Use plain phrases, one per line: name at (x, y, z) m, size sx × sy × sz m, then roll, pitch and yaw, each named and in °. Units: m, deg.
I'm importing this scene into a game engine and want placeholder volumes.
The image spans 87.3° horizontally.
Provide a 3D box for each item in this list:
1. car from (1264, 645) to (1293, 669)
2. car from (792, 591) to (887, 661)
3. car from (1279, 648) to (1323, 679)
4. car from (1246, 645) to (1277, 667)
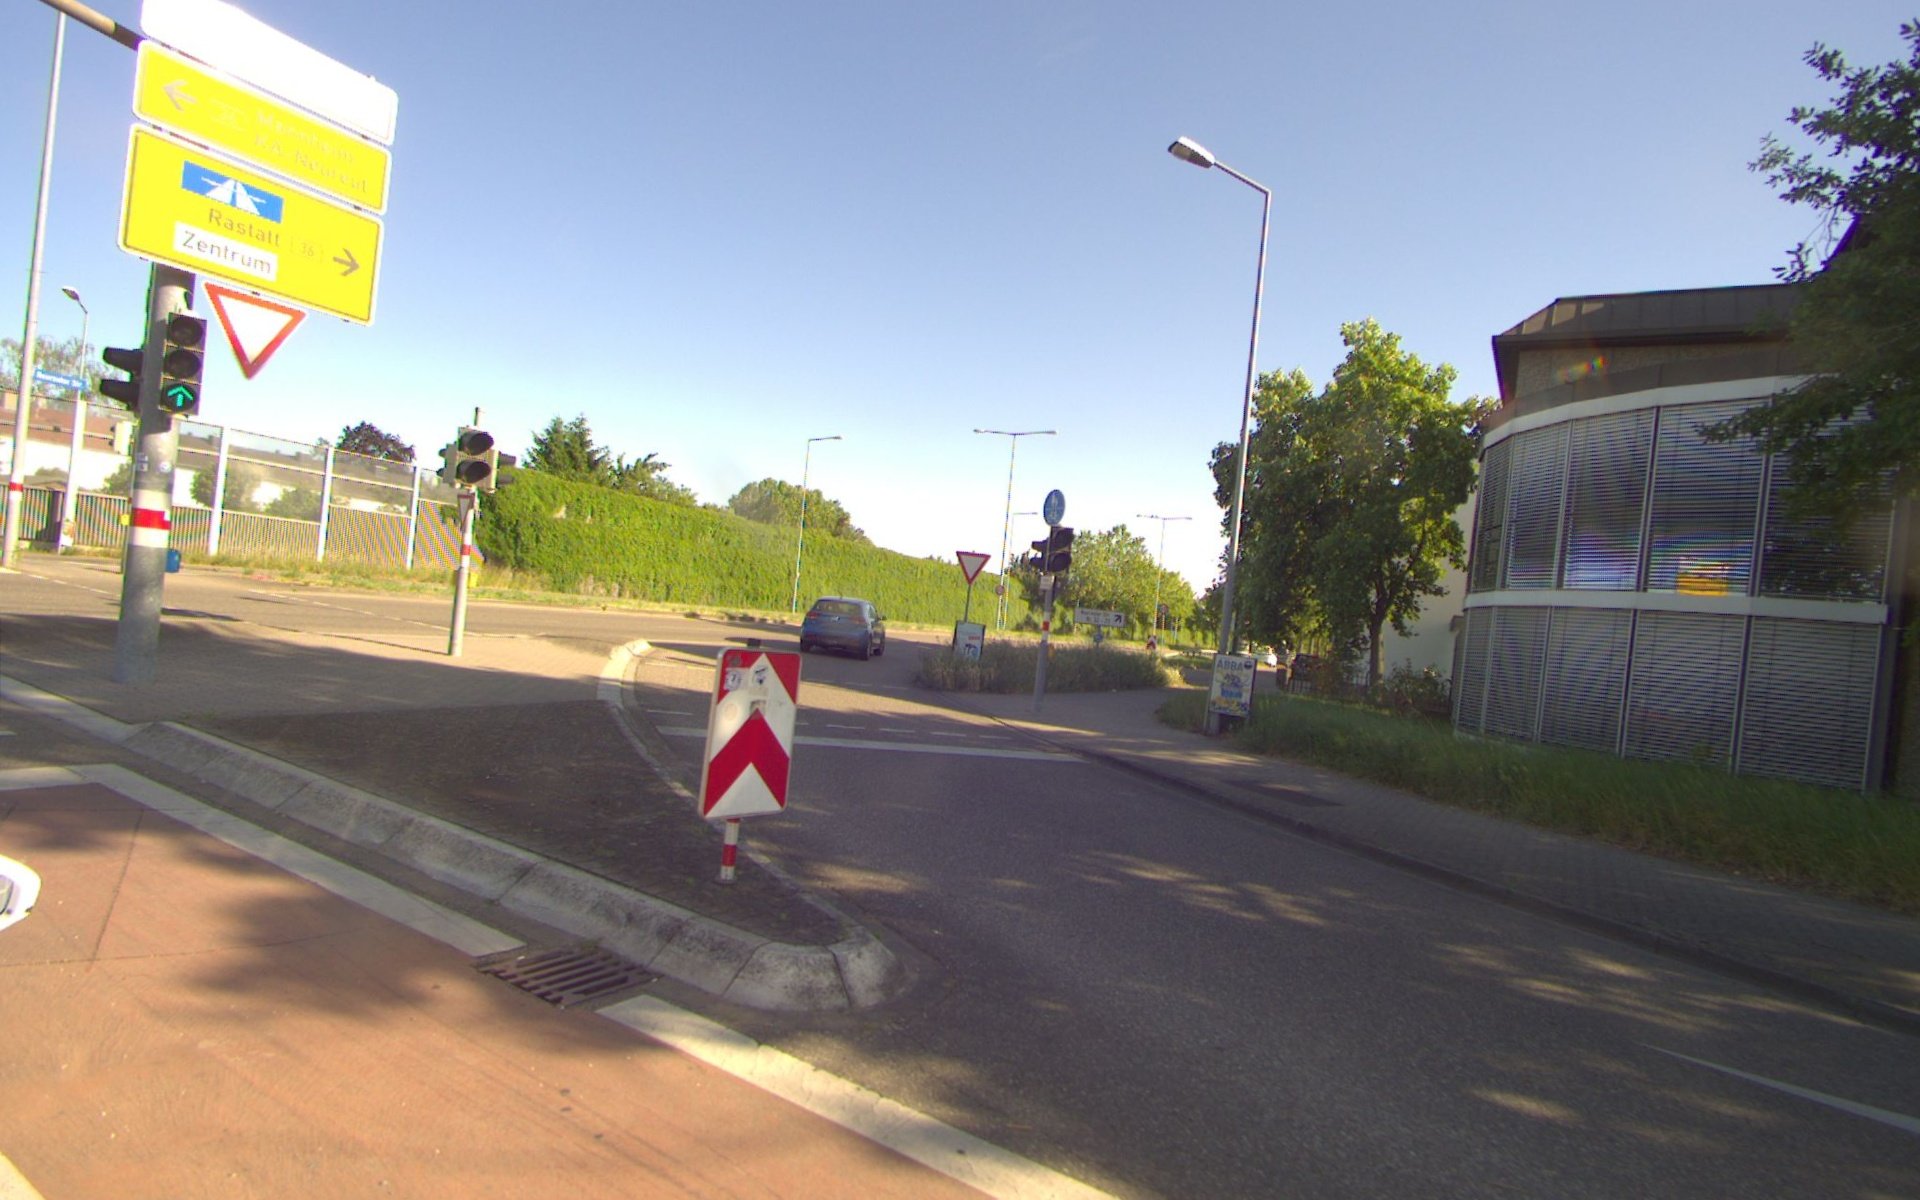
car at (27.993, 4.991, 88.366) m, size 1.703 × 1.840 × 3.997 m, roll 7°, pitch -1°, yaw 26°
car at (-2.997, 0.629, 25.792) m, size 1.705 × 1.458 × 3.793 m, roll 7°, pitch 0°, yaw 2°
car at (21.122, 3.924, 62.224) m, size 1.964 × 1.638 × 3.996 m, roll 6°, pitch 0°, yaw 26°
car at (24.382, 4.545, 81.305) m, size 1.703 × 1.451 × 3.997 m, roll 7°, pitch -1°, yaw 26°
